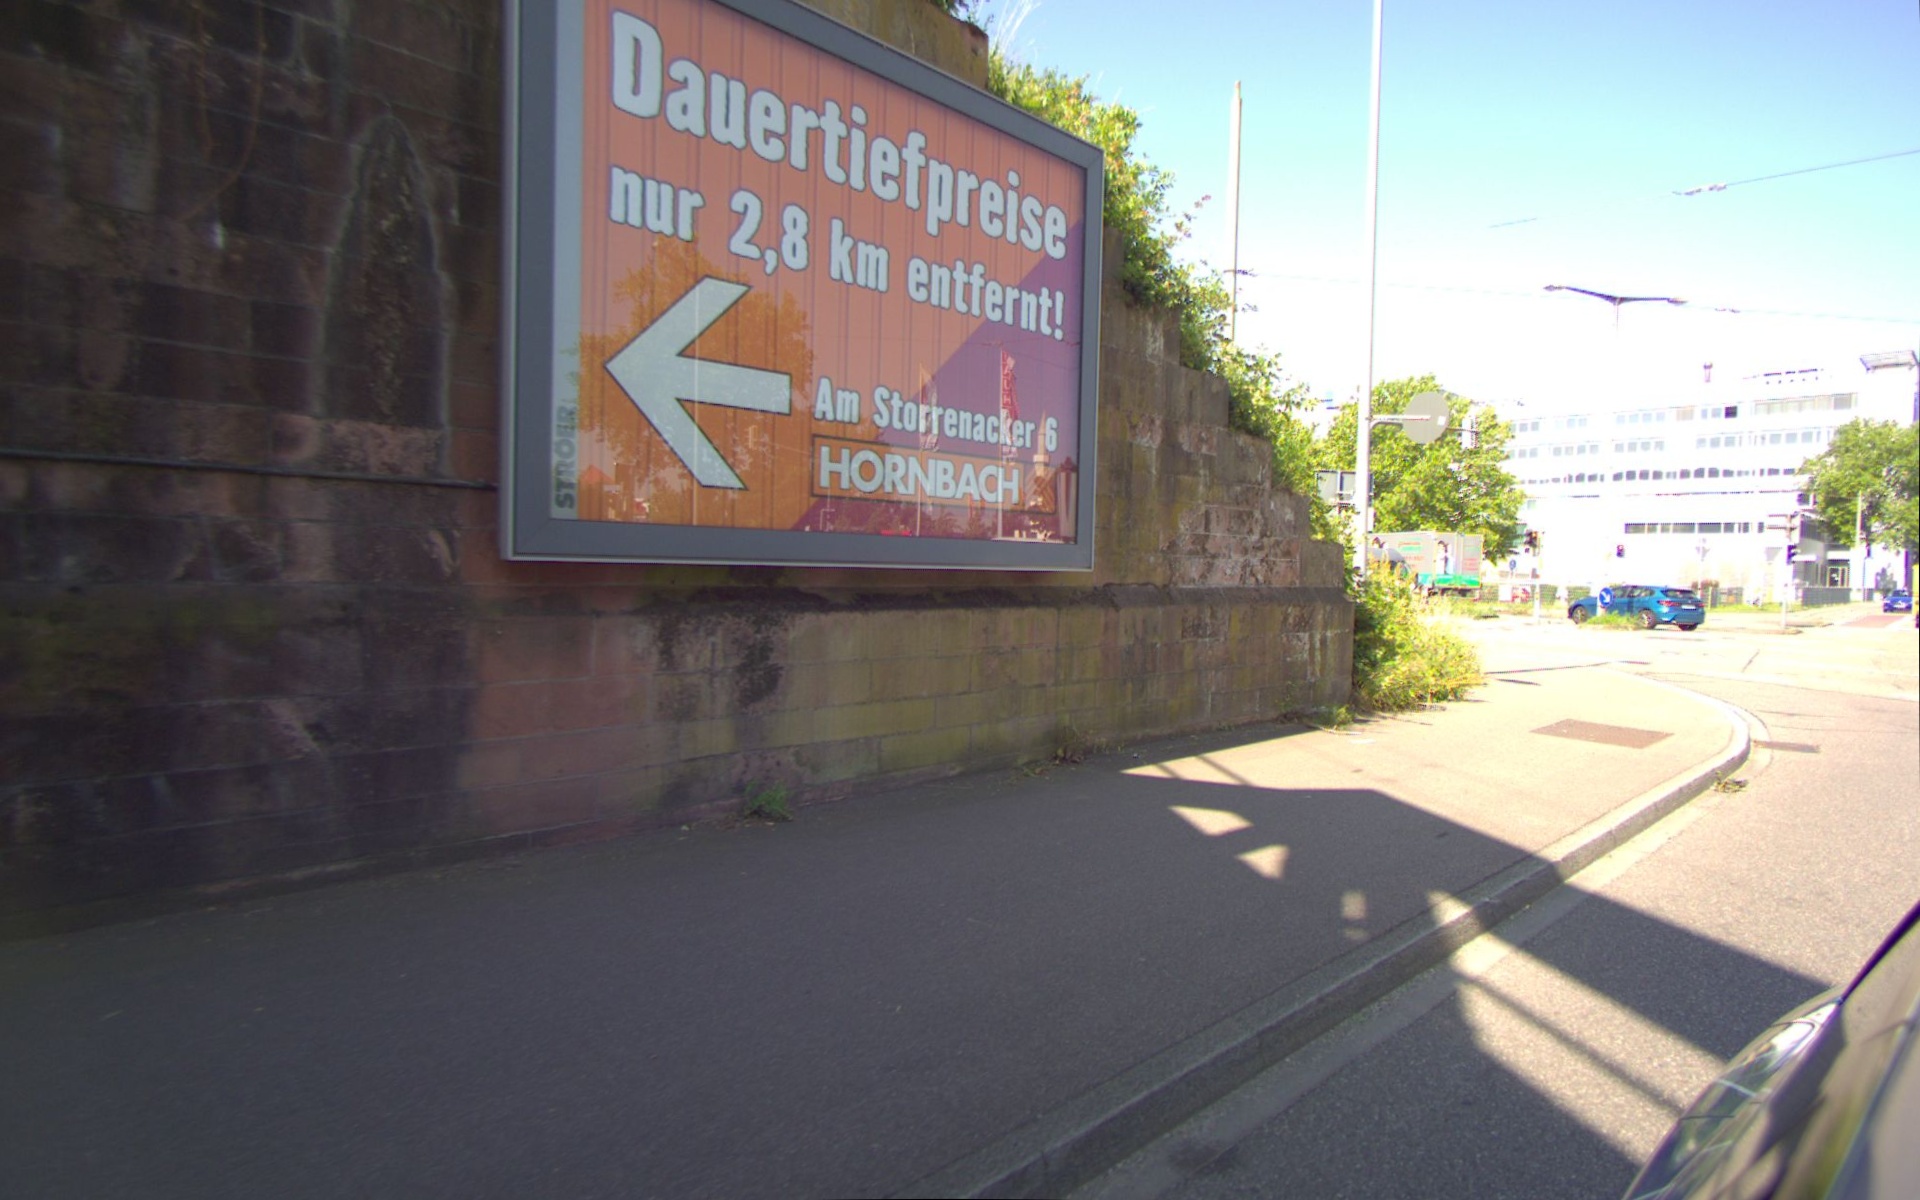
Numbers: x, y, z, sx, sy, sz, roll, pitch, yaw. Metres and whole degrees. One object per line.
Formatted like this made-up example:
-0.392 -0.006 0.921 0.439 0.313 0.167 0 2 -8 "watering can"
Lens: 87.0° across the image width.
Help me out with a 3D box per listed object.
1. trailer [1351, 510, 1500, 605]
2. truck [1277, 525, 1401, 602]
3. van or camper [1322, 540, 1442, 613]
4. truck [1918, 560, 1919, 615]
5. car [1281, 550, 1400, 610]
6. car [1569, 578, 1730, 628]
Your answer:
22.631 -1.914 49.768 2.880 4.279 7.811 1 0 -8 "trailer"
21.500 -1.924 58.056 2.880 4.096 8.665 1 0 -8 "truck"
16.104 -0.846 38.953 1.959 2.618 5.153 1 0 -7 "van or camper"
51.038 -0.655 52.032 2.402 2.899 5.716 0 0 42 "truck"
13.804 -0.690 37.062 1.959 2.039 4.891 1 0 -8 "car"
22.744 0.052 33.605 1.958 1.450 4.205 1 2 -12 "car"
